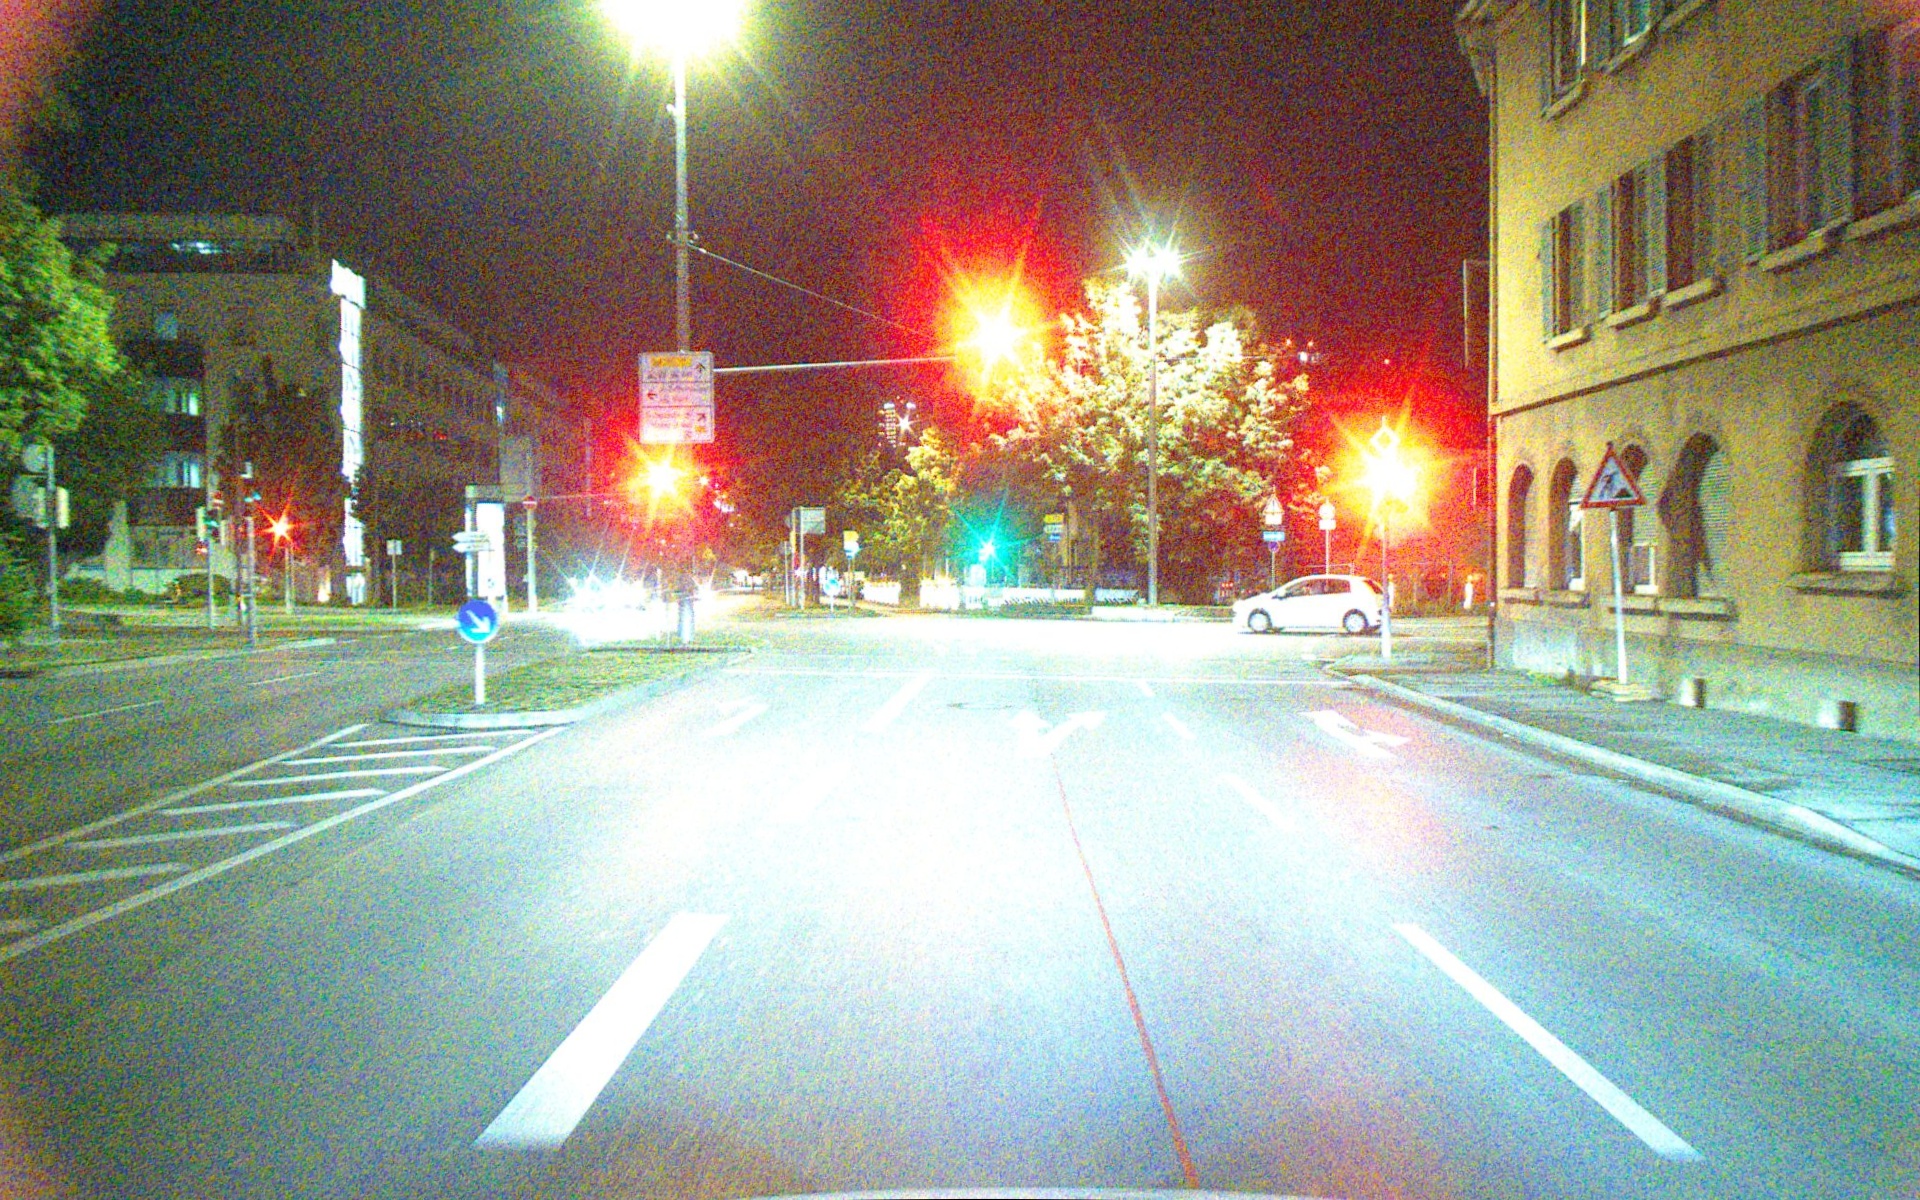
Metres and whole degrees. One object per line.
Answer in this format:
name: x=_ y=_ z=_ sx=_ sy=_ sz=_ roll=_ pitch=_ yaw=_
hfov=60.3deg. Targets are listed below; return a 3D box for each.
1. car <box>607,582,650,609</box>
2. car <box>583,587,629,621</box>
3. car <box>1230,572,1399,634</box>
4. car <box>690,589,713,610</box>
car: x=-16.882 y=-0.229 z=84.314 sx=1.723 sy=1.345 sz=3.544 roll=0 pitch=0 yaw=-5
car: x=-16.462 y=0.171 z=77.112 sx=1.584 sy=1.541 sz=3.996 roll=0 pitch=0 yaw=-4
car: x=9.090 y=0.081 z=42.442 sx=3.912 sy=1.517 sz=1.706 roll=0 pitch=0 yaw=30
car: x=-22.102 y=-0.021 z=141.386 sx=1.723 sy=1.758 sz=3.544 roll=0 pitch=0 yaw=-5
